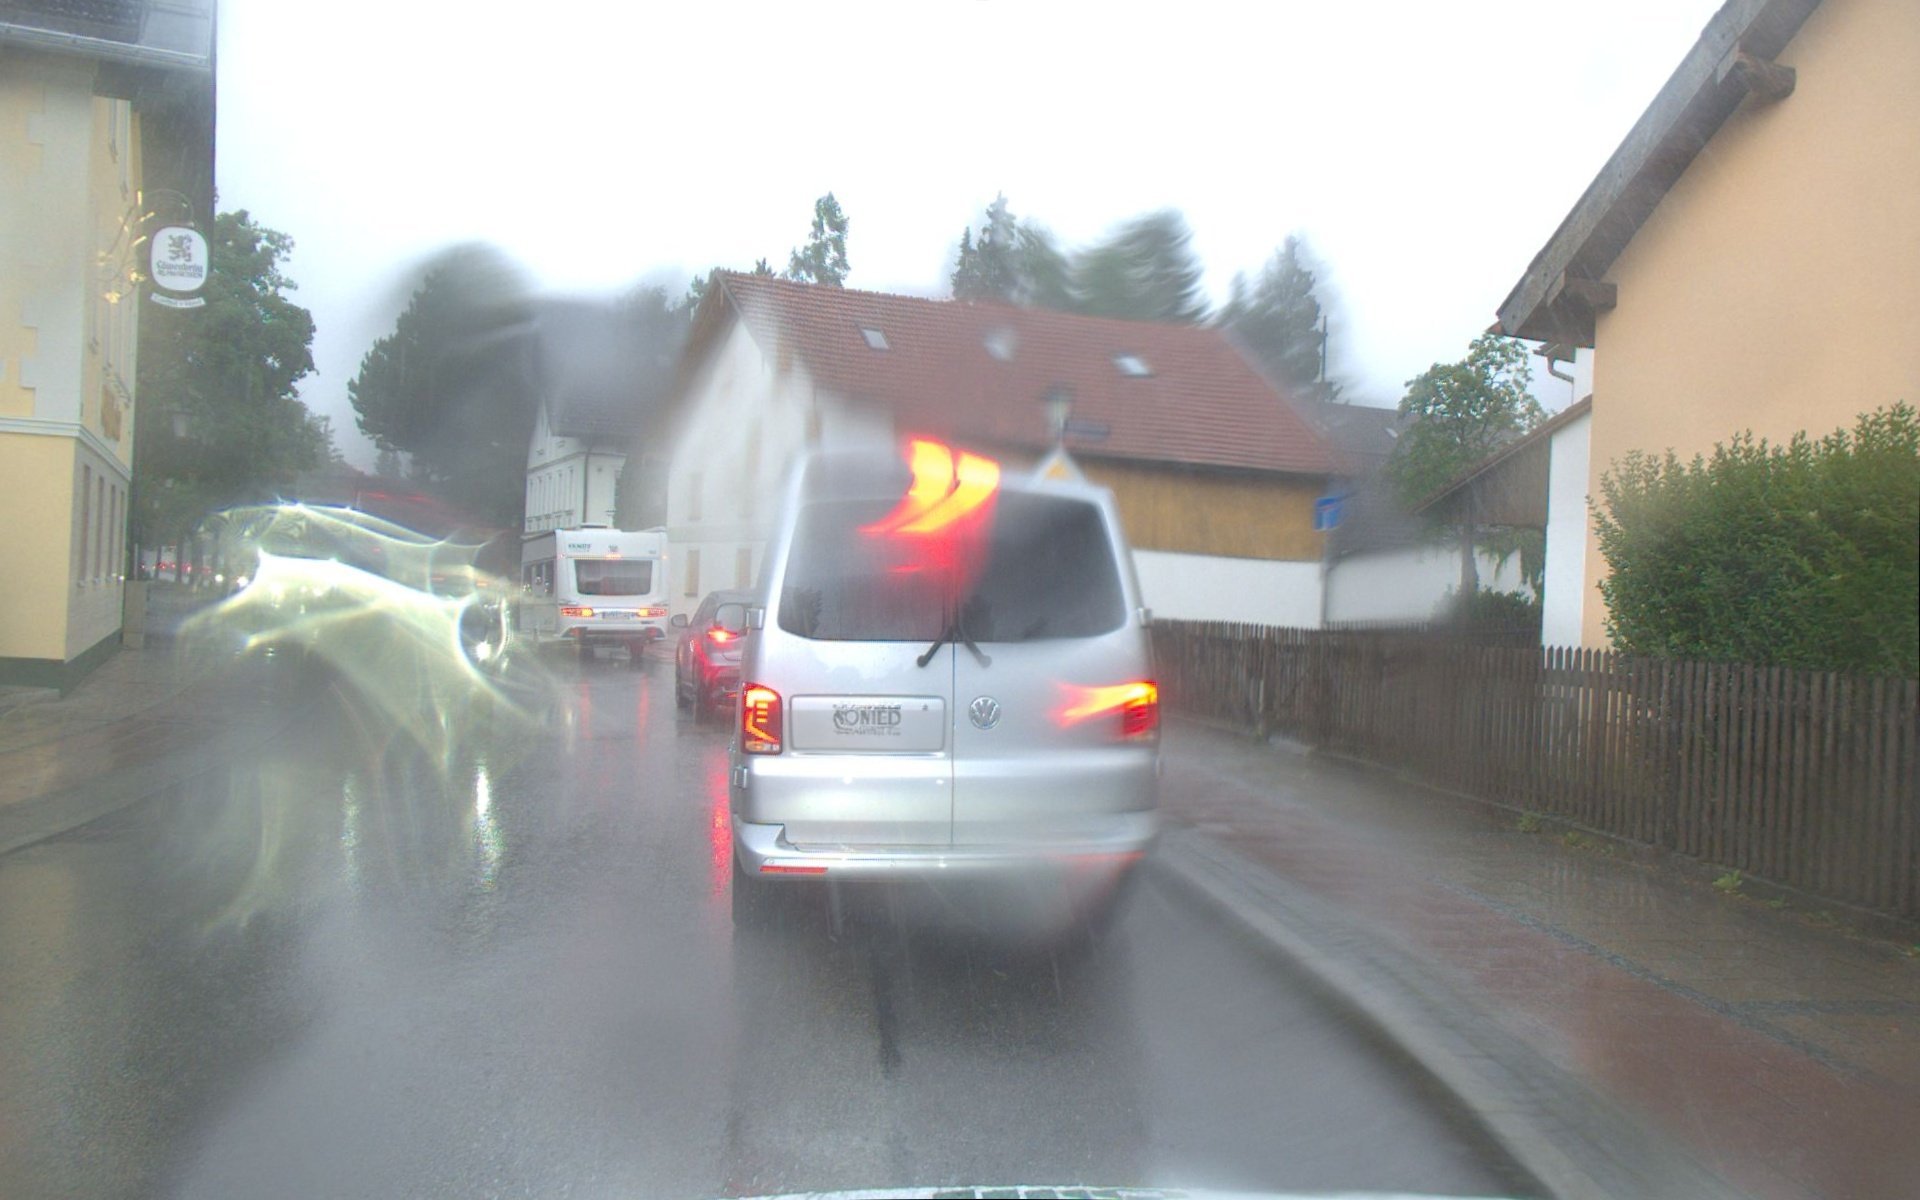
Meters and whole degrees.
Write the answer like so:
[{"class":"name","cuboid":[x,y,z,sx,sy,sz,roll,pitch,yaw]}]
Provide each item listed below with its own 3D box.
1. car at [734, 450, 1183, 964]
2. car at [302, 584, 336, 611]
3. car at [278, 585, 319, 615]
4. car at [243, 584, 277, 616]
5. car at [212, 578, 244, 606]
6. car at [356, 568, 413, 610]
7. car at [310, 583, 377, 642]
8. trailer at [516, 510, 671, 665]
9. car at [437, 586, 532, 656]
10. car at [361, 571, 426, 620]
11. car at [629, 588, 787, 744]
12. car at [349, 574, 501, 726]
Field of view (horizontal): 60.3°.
[{"class":"car","cuboid":[-0.059,0.422,9.008,1.740,1.997,5.072,1,0,-1]},{"class":"car","cuboid":[-50.189,-0.205,129.503,2.141,1.932,4.976,3,0,-24]},{"class":"car","cuboid":[-32.863,-0.021,82.108,1.837,1.382,4.452,0,1,-23]},{"class":"car","cuboid":[-42.194,-0.027,99.735,1.837,1.788,4.451,-2,1,-23]},{"class":"car","cuboid":[-50.500,-0.567,114.166,1.837,1.788,4.451,-2,1,-23]},{"class":"car","cuboid":[-28.633,-0.571,82.203,2.141,1.932,4.976,3,0,-24]},{"class":"car","cuboid":[-21.842,0.427,58.468,1.827,2.006,4.663,0,0,-25]},{"class":"trailer","cuboid":[-7.841,-0.243,34.877,2.239,2.955,6.092,1,0,-21]},{"class":"car","cuboid":[-15.094,0.621,52.309,2.141,1.932,4.976,3,0,-24]},{"class":"car","cuboid":[-24.457,-0.215,71.346,2.141,1.932,4.976,3,0,-24]},{"class":"car","cuboid":[-3.080,0.690,20.156,1.677,1.611,4.676,-1,1,-9]},{"class":"car","cuboid":[-6.329,0.543,19.753,1.561,1.638,3.522,1,0,-17]}]
